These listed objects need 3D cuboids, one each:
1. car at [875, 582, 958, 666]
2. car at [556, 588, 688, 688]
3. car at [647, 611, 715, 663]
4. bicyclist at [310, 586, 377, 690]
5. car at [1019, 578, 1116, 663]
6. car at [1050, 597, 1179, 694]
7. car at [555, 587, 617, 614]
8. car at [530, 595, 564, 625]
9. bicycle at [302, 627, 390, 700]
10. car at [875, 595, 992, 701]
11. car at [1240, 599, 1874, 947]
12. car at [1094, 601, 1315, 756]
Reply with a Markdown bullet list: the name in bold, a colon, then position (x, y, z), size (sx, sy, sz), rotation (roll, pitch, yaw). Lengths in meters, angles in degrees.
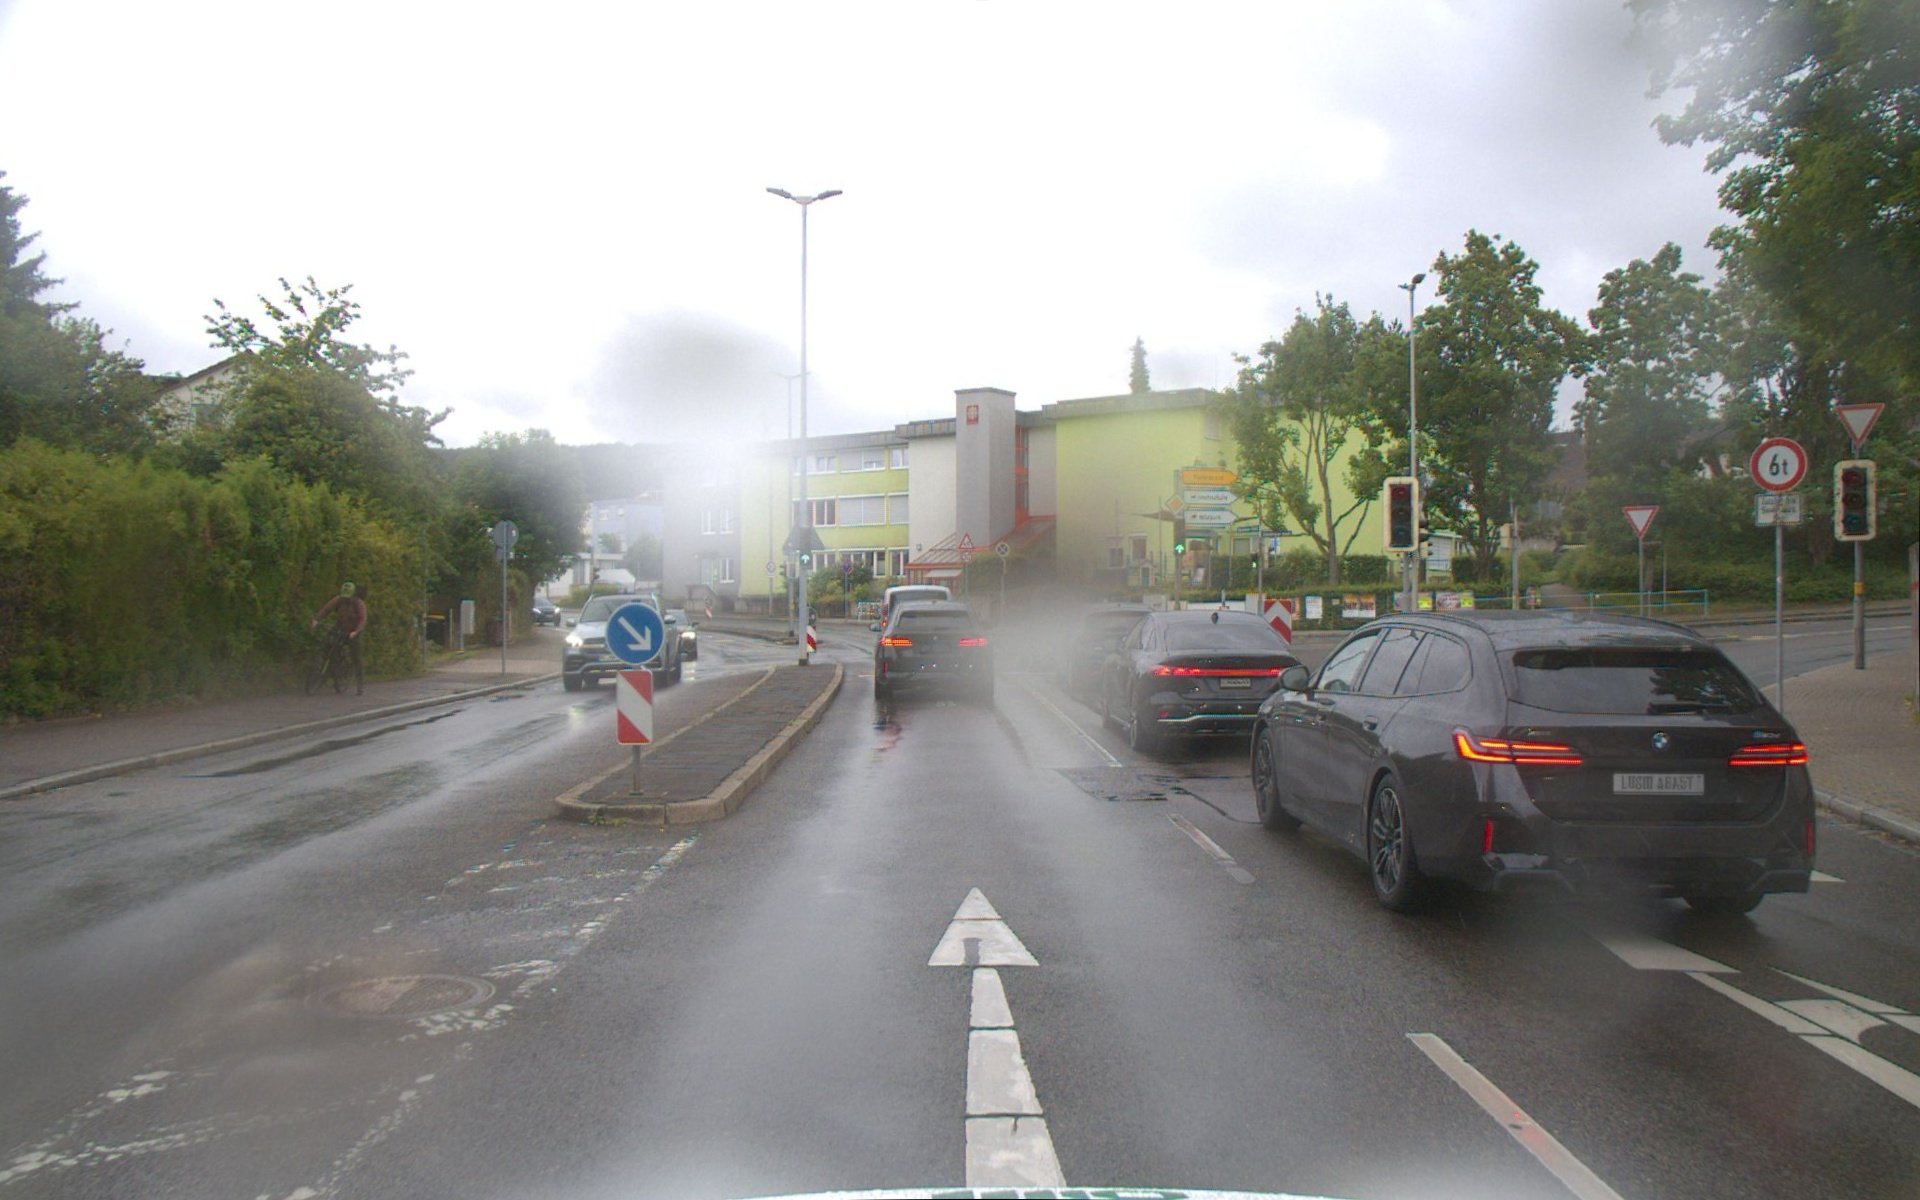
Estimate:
- **car**: position (-1.087, 0.520, 39.729), size (1.684, 1.876, 4.082), rotation (-1, 1, -6)
- **car**: position (-6.560, 0.686, 32.585), size (2.001, 1.746, 4.477), rotation (-2, 1, -5)
- **car**: position (-8.675, 1.121, 51.675), size (1.704, 1.462, 4.551), rotation (-2, 0, -5)
- **bicyclist**: position (-9.883, 0.600, 26.544), size (0.749, 1.640, 0.868), rotation (0, 0, -3)
- **car**: position (2.391, 0.424, 37.656), size (1.747, 1.764, 4.085), rotation (-2, 1, -3)
- **car**: position (2.604, 0.731, 28.776), size (1.812, 1.512, 4.086), rotation (-2, 0, 0)
- **car**: position (-28.096, 0.065, 124.113), size (4.328, 1.802, 1.989), rotation (-3, 0, -19)
- **car**: position (-24.063, 0.565, 96.211), size (1.819, 1.592, 3.984), rotation (-1, 2, -15)
- **bicycle**: position (-9.895, 0.999, 26.718), size (0.732, 1.105, 1.988), rotation (1, -1, -3)
- **car**: position (-0.493, 0.708, 26.589), size (1.649, 1.532, 3.770), rotation (-1, 0, -4)
- **car**: position (3.047, 0.758, 9.691), size (1.867, 1.484, 4.776), rotation (-1, 0, -2)
- **car**: position (2.570, 0.767, 18.388), size (1.672, 1.452, 4.507), rotation (-1, 0, -1)
